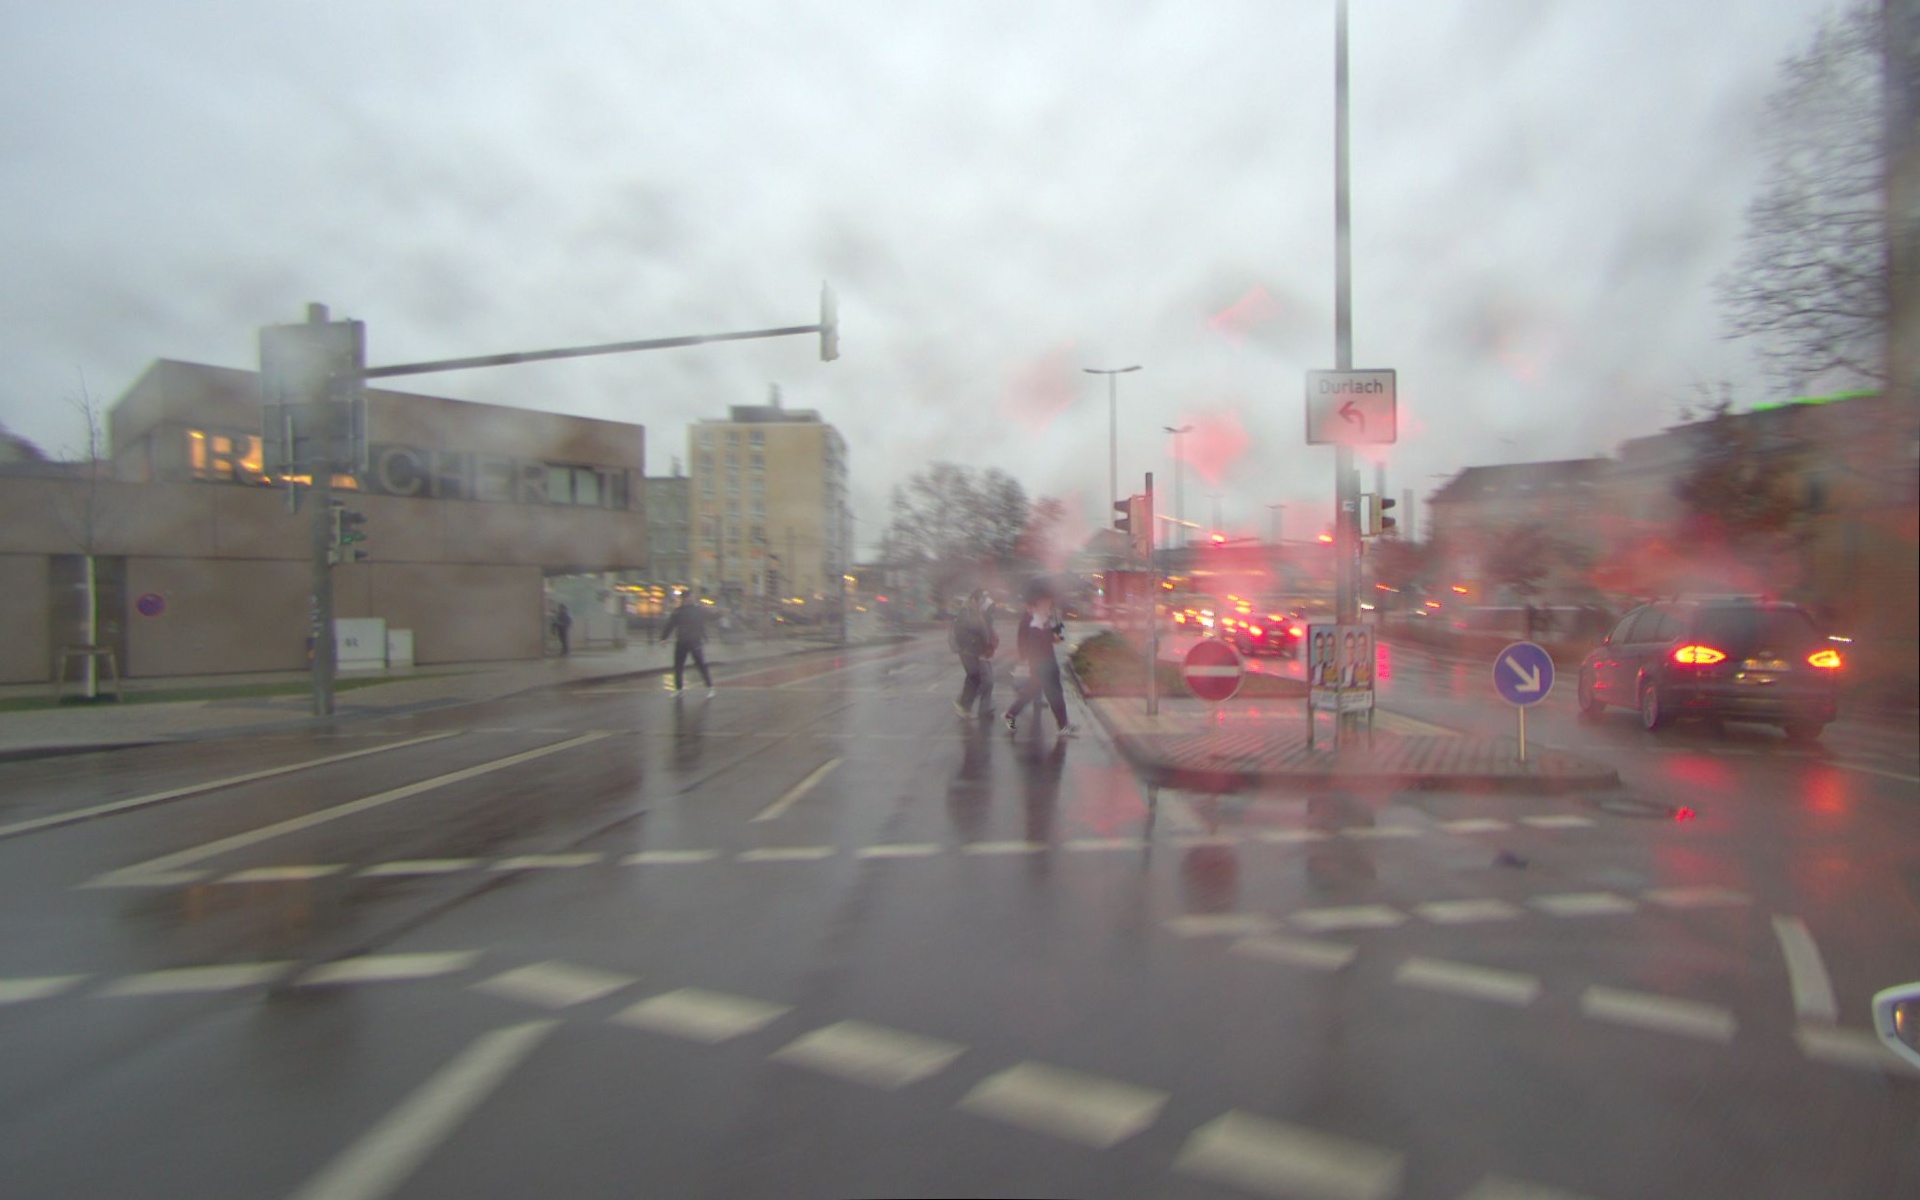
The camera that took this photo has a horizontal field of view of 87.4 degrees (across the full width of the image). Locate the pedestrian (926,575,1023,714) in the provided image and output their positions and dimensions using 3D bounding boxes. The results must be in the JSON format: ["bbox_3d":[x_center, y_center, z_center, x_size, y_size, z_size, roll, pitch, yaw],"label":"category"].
[{"bbox_3d":[0.197,0.588,14.374,1.021,1.883,1.064,-2,2,-24],"label":"pedestrian"}]

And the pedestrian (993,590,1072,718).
[{"bbox_3d":[1.202,0.864,16.690,1.091,2.033,0.846,-1,2,-14],"label":"pedestrian"}]

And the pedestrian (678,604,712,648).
[{"bbox_3d":[-12.082,1.191,45.786,1.115,1.944,1.049,-1,0,-42],"label":"pedestrian"}]

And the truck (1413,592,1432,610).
[{"bbox_3d":[71.119,0.165,154.541,1.966,2.727,5.102,-1,-1,32],"label":"truck"}]

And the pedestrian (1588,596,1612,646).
[{"bbox_3d":[23.235,0.766,36.457,0.577,1.805,0.765,-3,-2,39],"label":"pedestrian"}]

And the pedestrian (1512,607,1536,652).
[{"bbox_3d":[25.111,1.315,44.722,0.797,1.956,0.756,1,3,39],"label":"pedestrian"}]

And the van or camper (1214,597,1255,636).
[{"bbox_3d":[15.907,0.953,58.198,2.164,2.137,4.989,1,0,16],"label":"van or camper"}]

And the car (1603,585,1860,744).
[{"bbox_3d":[10.384,0.737,13.921,1.749,1.824,4.422,0,0,23],"label":"car"}]

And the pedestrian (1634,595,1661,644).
[{"bbox_3d":[24.541,0.697,35.848,0.709,1.710,0.757,-1,-1,39],"label":"pedestrian"}]

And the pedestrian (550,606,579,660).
[{"bbox_3d":[-13.277,1.091,33.714,0.649,1.791,0.833,-1,0,-4],"label":"pedestrian"}]

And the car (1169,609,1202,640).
[{"bbox_3d":[13.629,1.445,60.656,1.853,1.795,4.002,0,0,14],"label":"car"}]

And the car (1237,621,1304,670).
[{"bbox_3d":[11.044,1.589,35.978,1.671,1.501,3.874,2,0,8],"label":"car"}]

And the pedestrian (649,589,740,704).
[{"bbox_3d":[-4.525,0.765,17.199,1.210,1.883,1.035,0,2,4],"label":"pedestrian"}]

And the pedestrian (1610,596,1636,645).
[{"bbox_3d":[23.782,0.739,36.024,0.659,1.710,0.609,-3,0,40],"label":"pedestrian"}]

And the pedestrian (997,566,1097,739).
[{"bbox_3d":[1.093,0.623,12.641,1.190,2.077,1.035,0,2,4],"label":"pedestrian"}]

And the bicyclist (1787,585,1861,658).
[{"bbox_3d":[20.324,0.492,23.662,0.790,1.639,1.086,-4,0,9],"label":"bicyclist"}]

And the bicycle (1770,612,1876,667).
[{"bbox_3d":[20.358,0.906,23.765,0.790,1.156,2.215,-4,0,9],"label":"bicycle"}]

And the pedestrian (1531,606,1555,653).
[{"bbox_3d":[25.805,1.286,44.456,0.797,2.041,0.756,1,3,39],"label":"pedestrian"}]
